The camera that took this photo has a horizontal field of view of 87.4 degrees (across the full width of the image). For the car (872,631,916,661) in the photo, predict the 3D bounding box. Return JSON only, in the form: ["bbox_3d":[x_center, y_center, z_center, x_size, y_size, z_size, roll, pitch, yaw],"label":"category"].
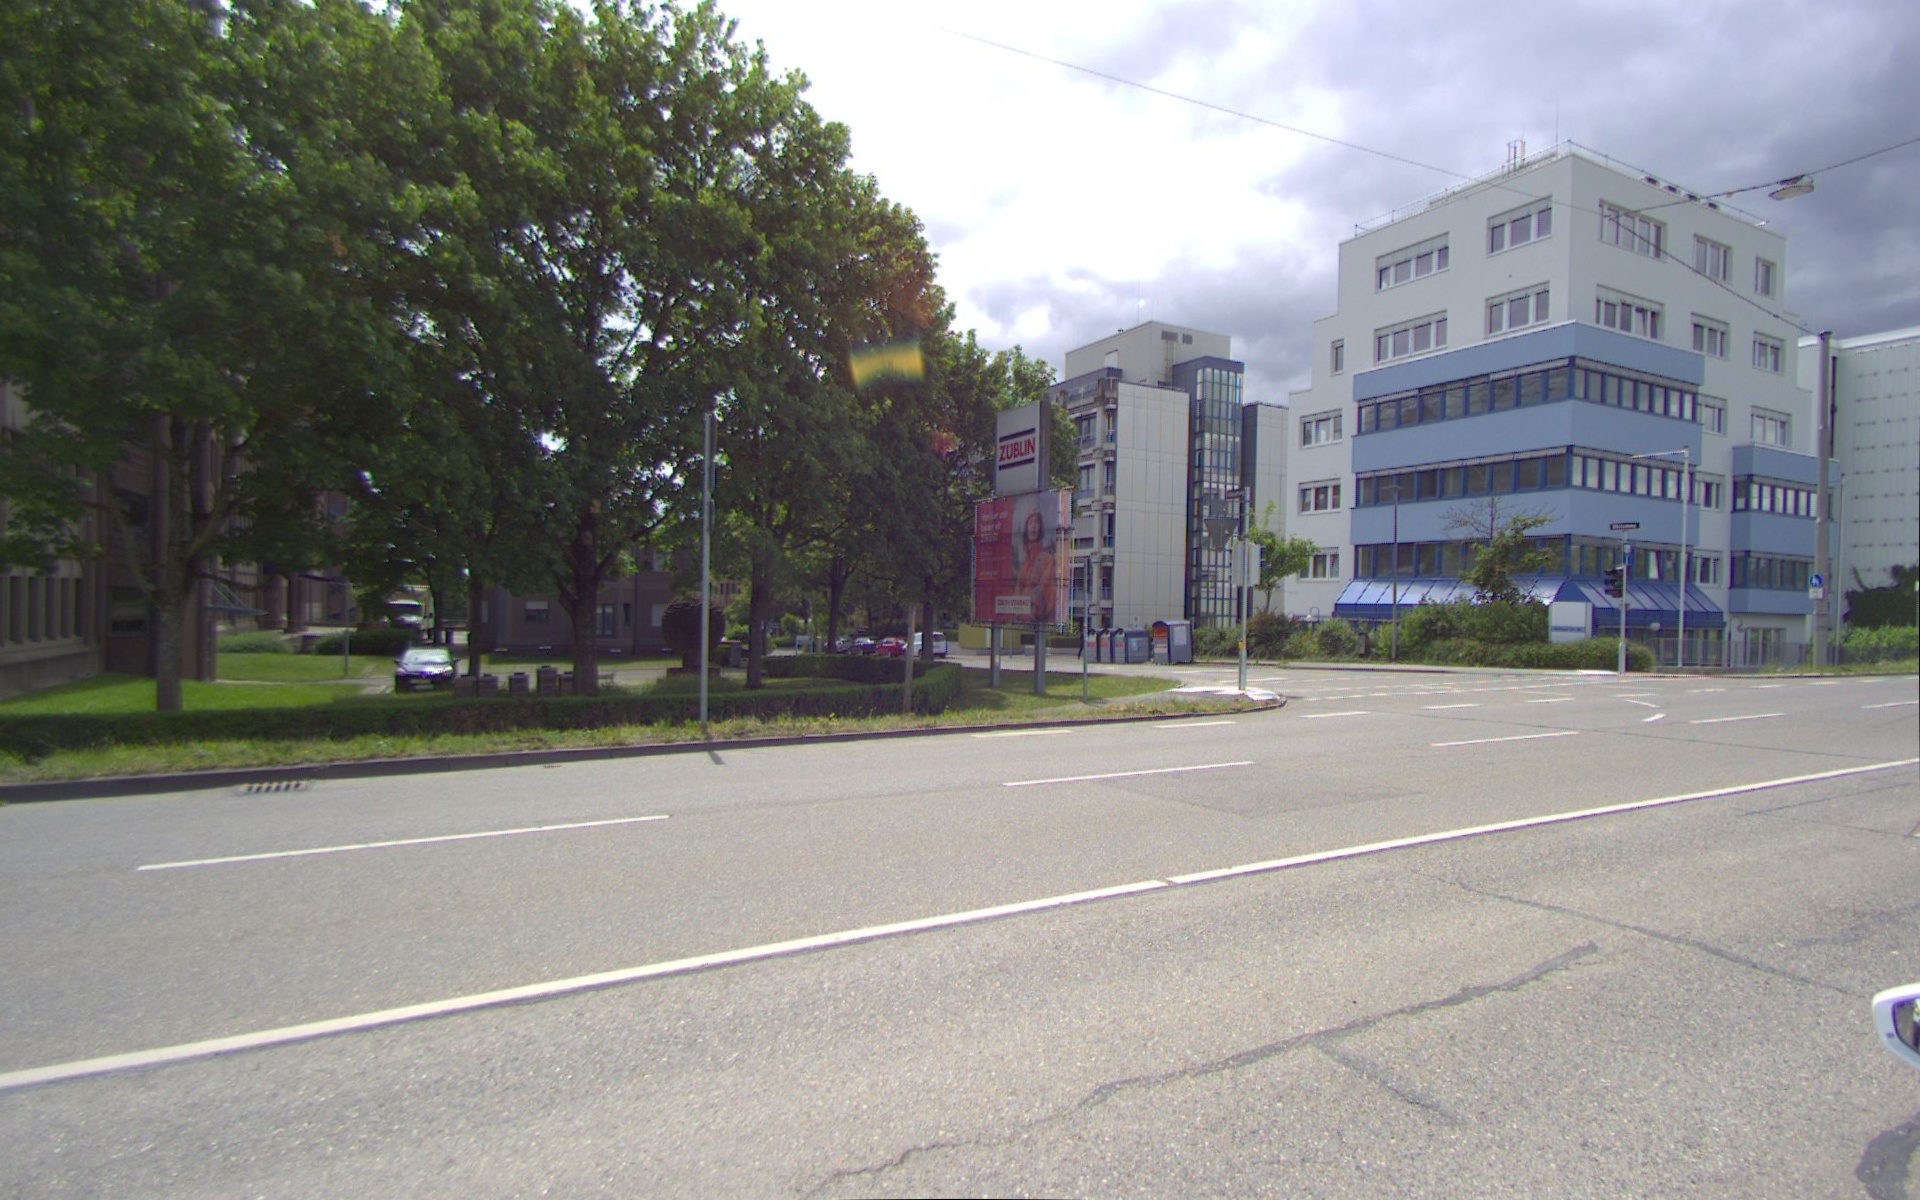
[{"bbox_3d":[-4.909,3.390,73.841,1.868,2.040,3.974,2,-1,-26],"label":"car"}]

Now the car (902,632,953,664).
[{"bbox_3d":[-2.256,3.240,68.772,1.974,2.006,3.974,2,-1,-26],"label":"car"}]

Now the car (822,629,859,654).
[{"bbox_3d":[-10.023,3.433,84.150,1.875,1.919,3.973,2,-1,-27],"label":"car"}]

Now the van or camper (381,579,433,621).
[{"bbox_3d":[-30.871,0.005,56.028,2.332,2.132,5.161,2,-1,-31],"label":"van or camper"}]

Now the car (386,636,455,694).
[{"bbox_3d":[-17.542,2.103,32.801,1.763,1.750,3.975,1,-3,-26],"label":"car"}]

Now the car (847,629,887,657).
[{"bbox_3d":[-7.324,3.348,78.790,1.848,2.040,3.973,2,-1,-26],"label":"car"}]
